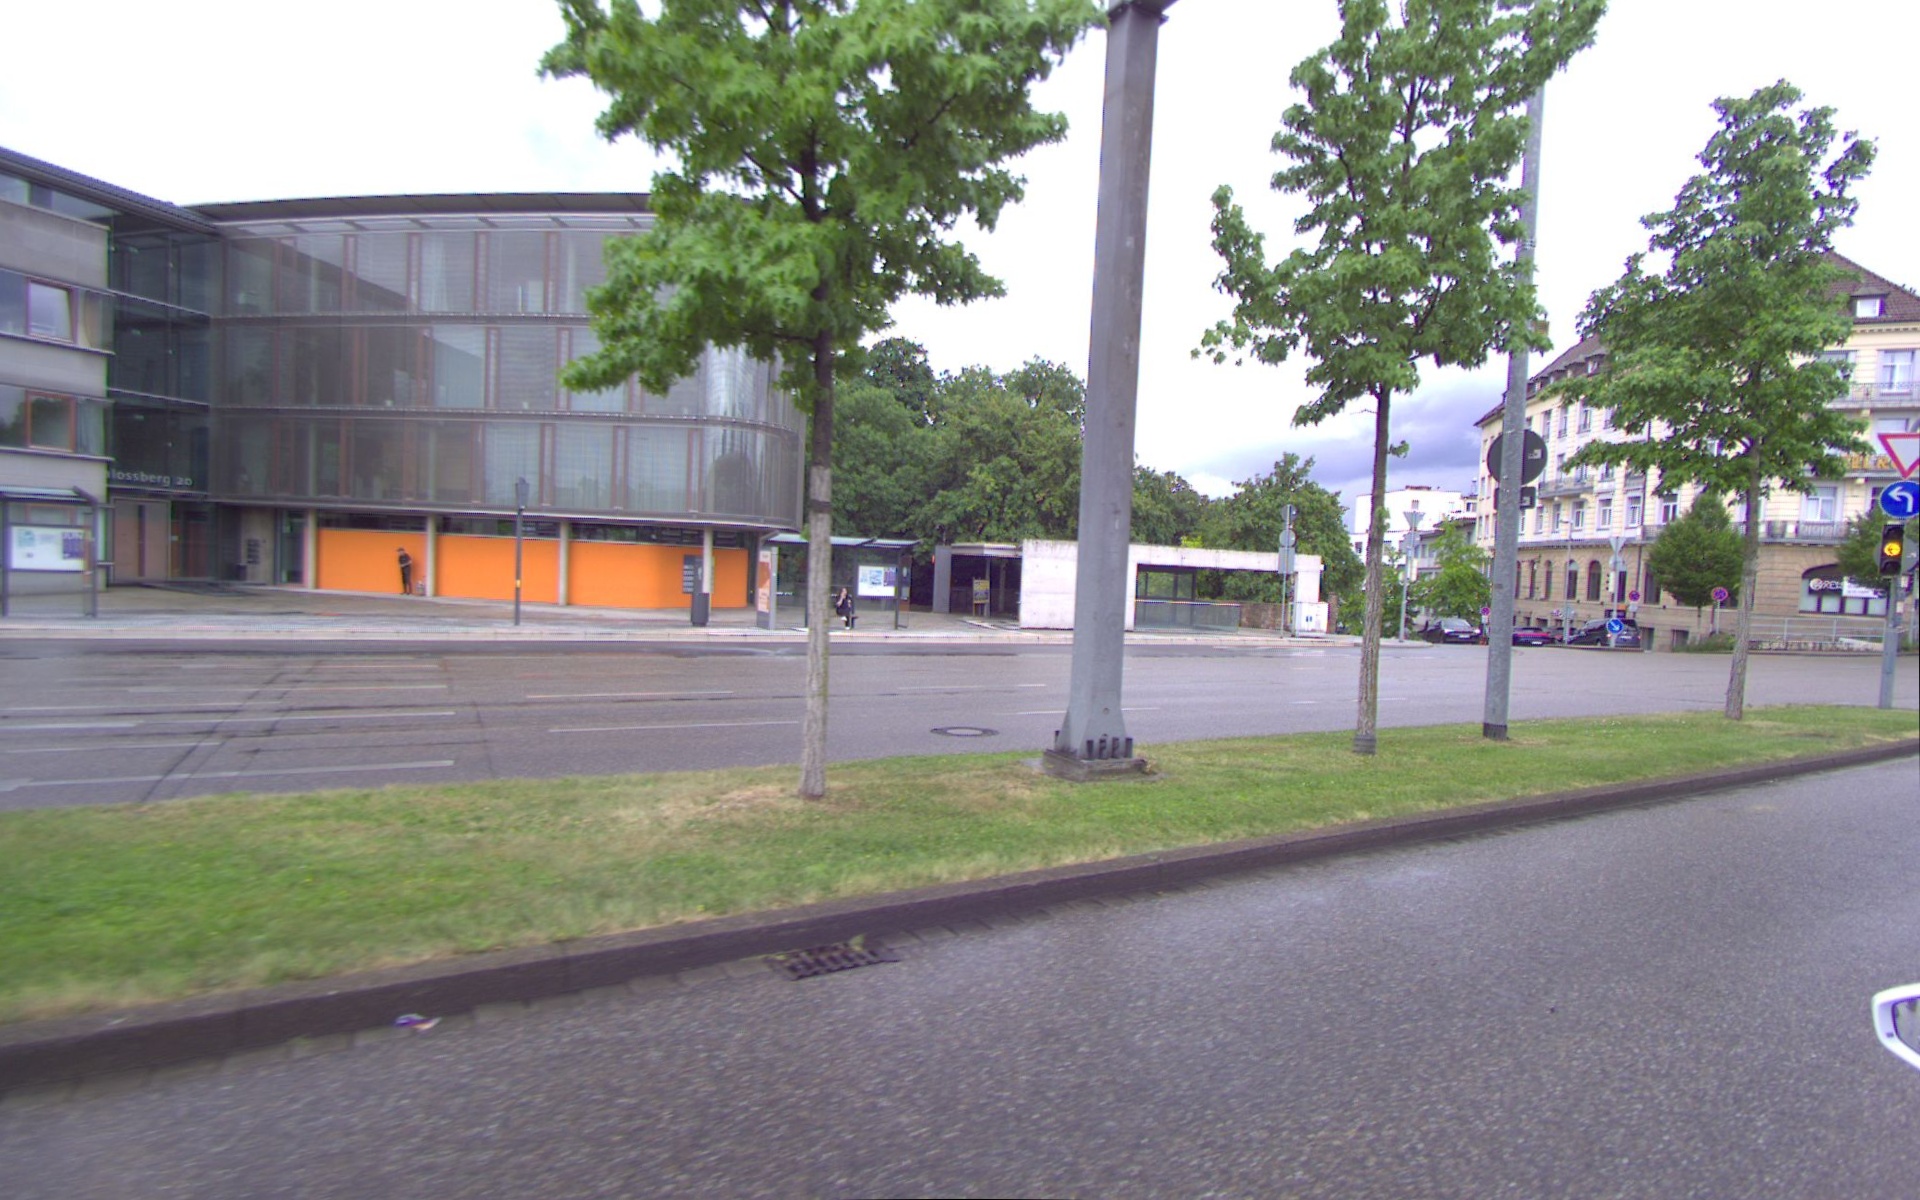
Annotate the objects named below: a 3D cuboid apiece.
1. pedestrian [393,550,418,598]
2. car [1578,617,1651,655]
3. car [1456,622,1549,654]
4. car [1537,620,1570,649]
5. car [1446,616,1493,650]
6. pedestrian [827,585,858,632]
[{"bbox_3d":[-20.239,-0.954,36.672,0.630,1.706,0.475,2,1,0],"label":"pedestrian"},{"bbox_3d":[34.725,1.871,53.431,2.077,1.799,4.393,2,0,17],"label":"car"},{"bbox_3d":[30.128,2.081,55.828,4.331,1.591,1.816,0,-1,35],"label":"car"},{"bbox_3d":[35.140,2.044,59.514,1.634,1.626,3.246,-1,-1,30],"label":"car"},{"bbox_3d":[26.647,1.701,52.651,1.962,1.606,3.474,2,0,24],"label":"car"},{"bbox_3d":[-3.533,0.246,30.077,0.834,1.285,0.976,2,5,-10],"label":"pedestrian"}]
